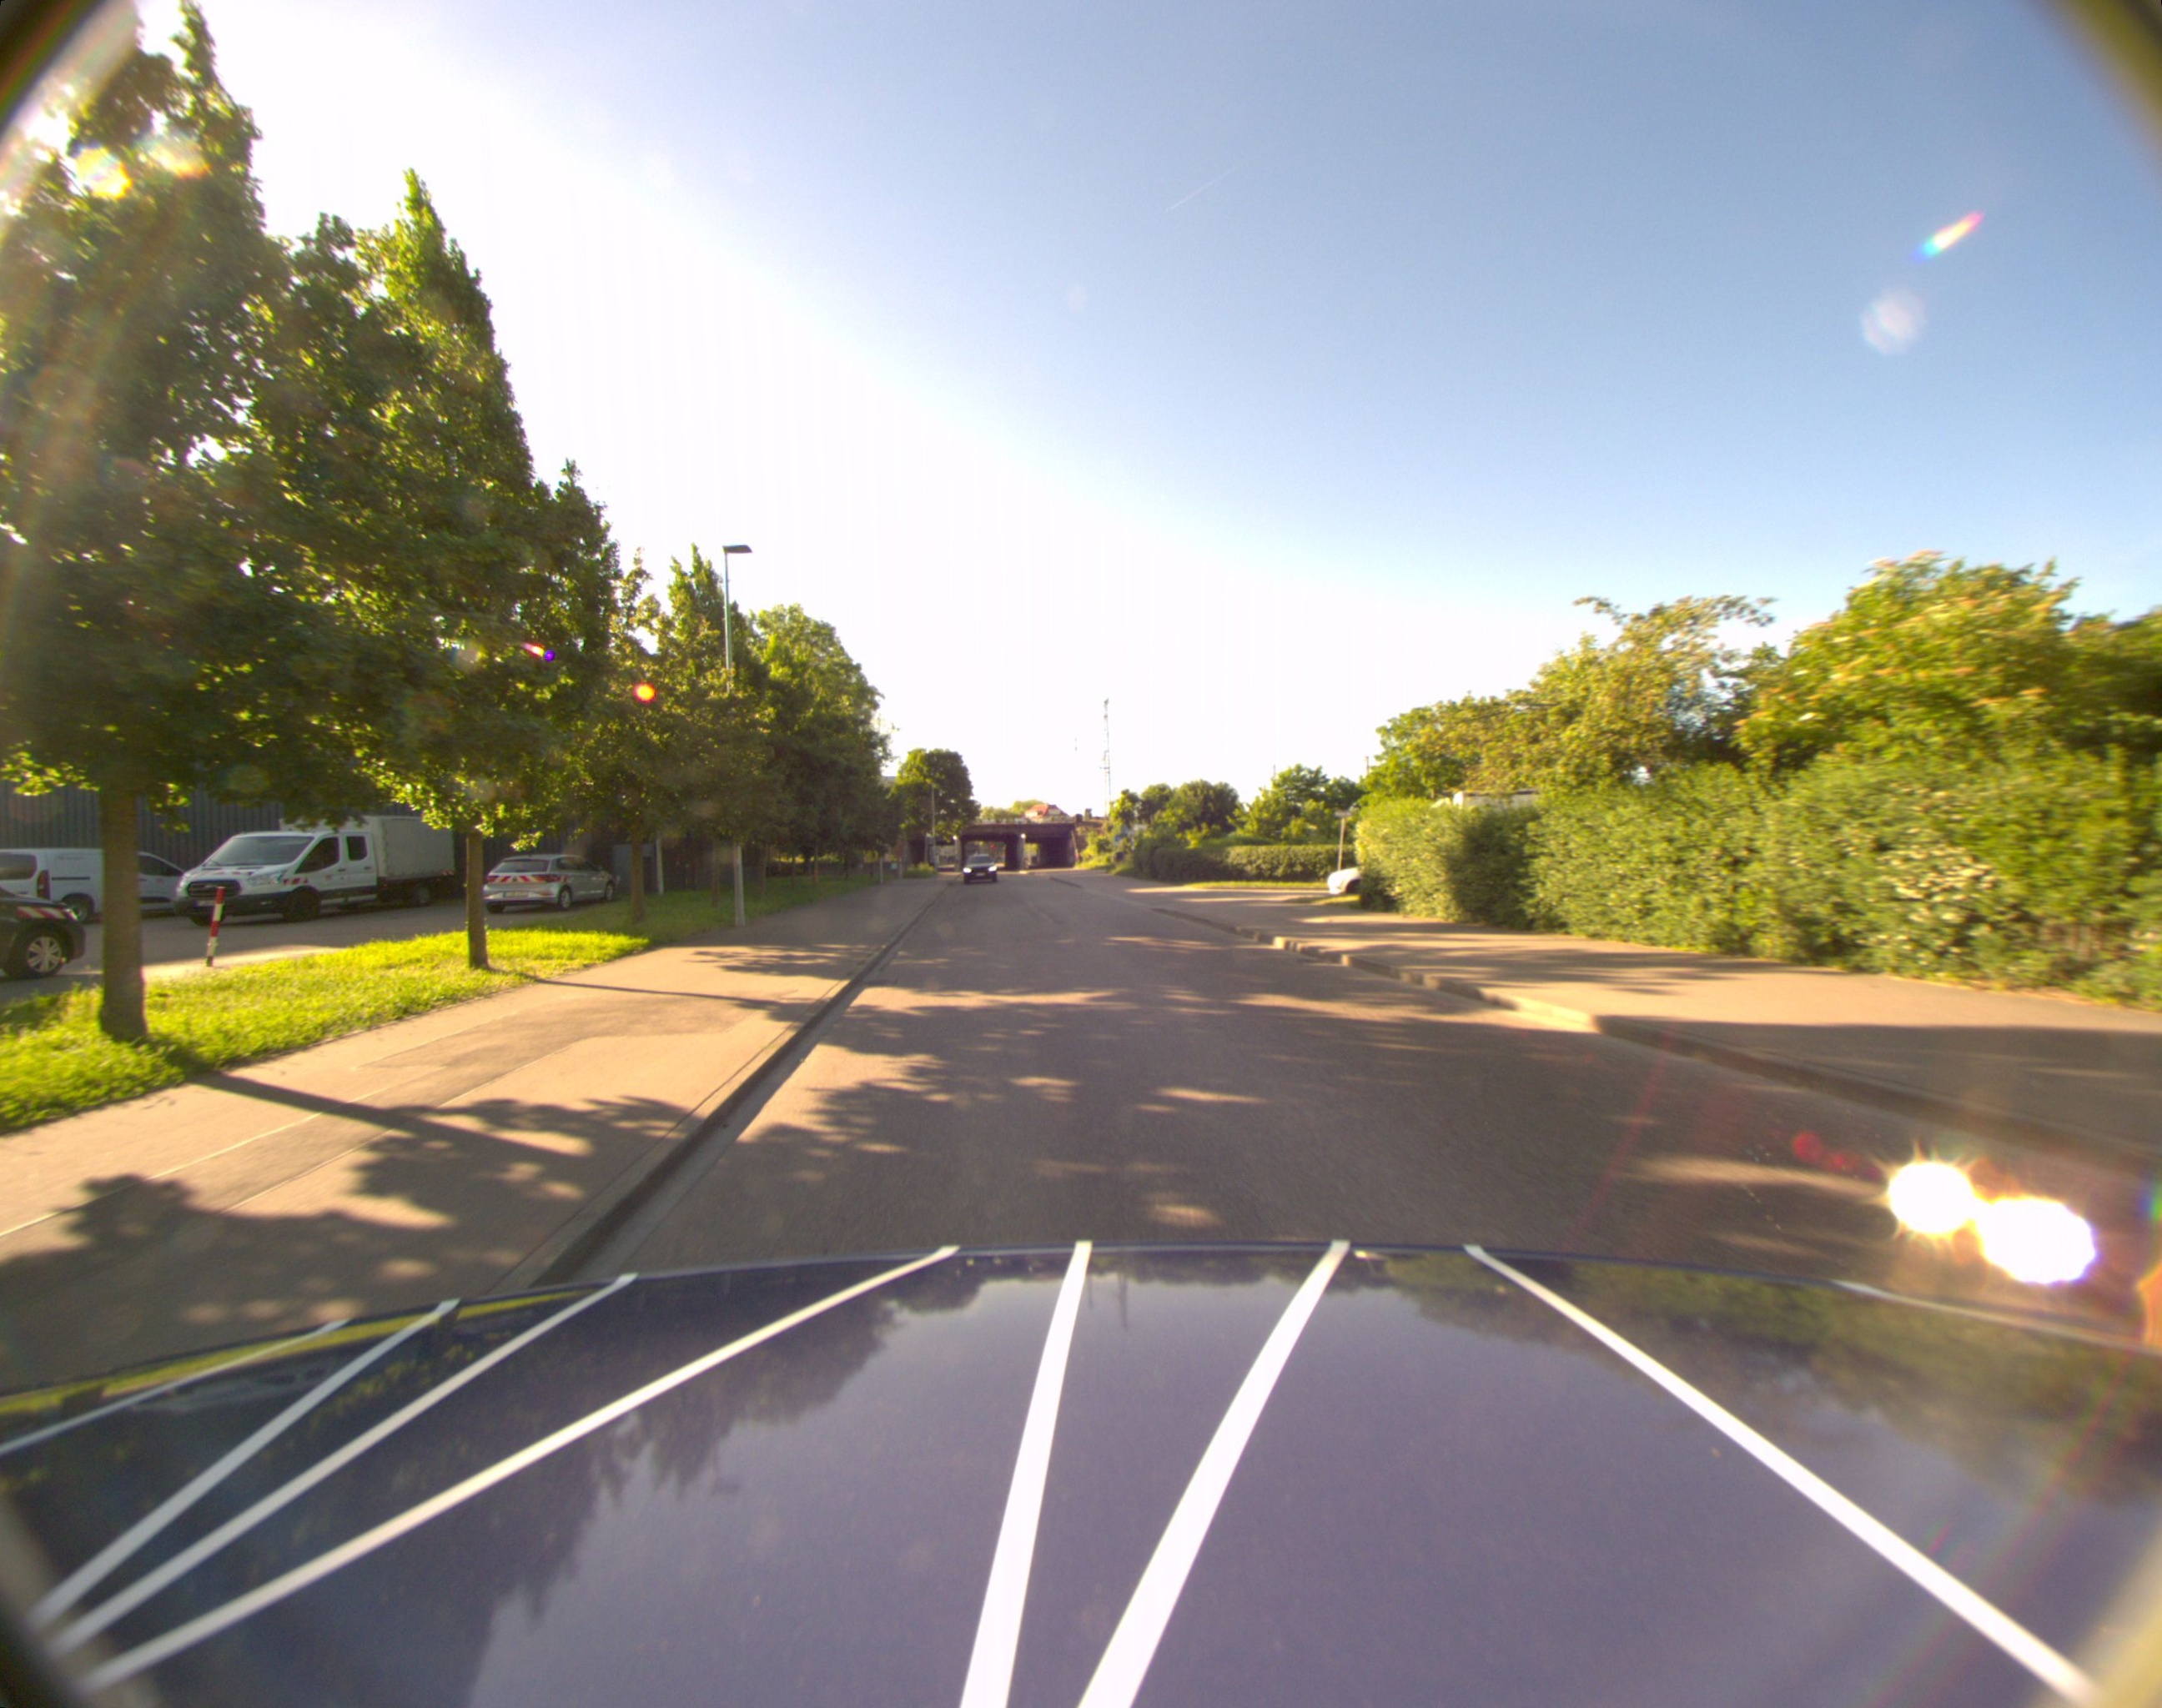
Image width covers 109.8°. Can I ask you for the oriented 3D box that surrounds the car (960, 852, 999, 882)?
[{"bbox_3d":[-6.118,0.752,46.366,2.037,1.623,4.611,-2,0,-5],"label":"car"}]

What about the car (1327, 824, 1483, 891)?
[{"bbox_3d":[9.447,0.115,22.324,3.990,1.772,2.003,-2,1,23],"label":"car"}]

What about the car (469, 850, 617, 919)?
[{"bbox_3d":[-13.941,0.707,19.957,1.778,1.477,3.646,-1,3,-11],"label":"car"}]

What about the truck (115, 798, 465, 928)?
[{"bbox_3d":[-19.378,0.172,19.362,2.578,2.676,6.413,-2,0,-7],"label":"truck"}]

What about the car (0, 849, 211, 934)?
[{"bbox_3d":[-24.230,0.826,18.590,1.778,1.717,3.765,-1,3,-8],"label":"car"}]

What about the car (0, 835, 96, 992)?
[{"bbox_3d":[-13.413,0.710,7.696,1.901,1.847,4.235,-1,0,-13],"label":"car"}]
